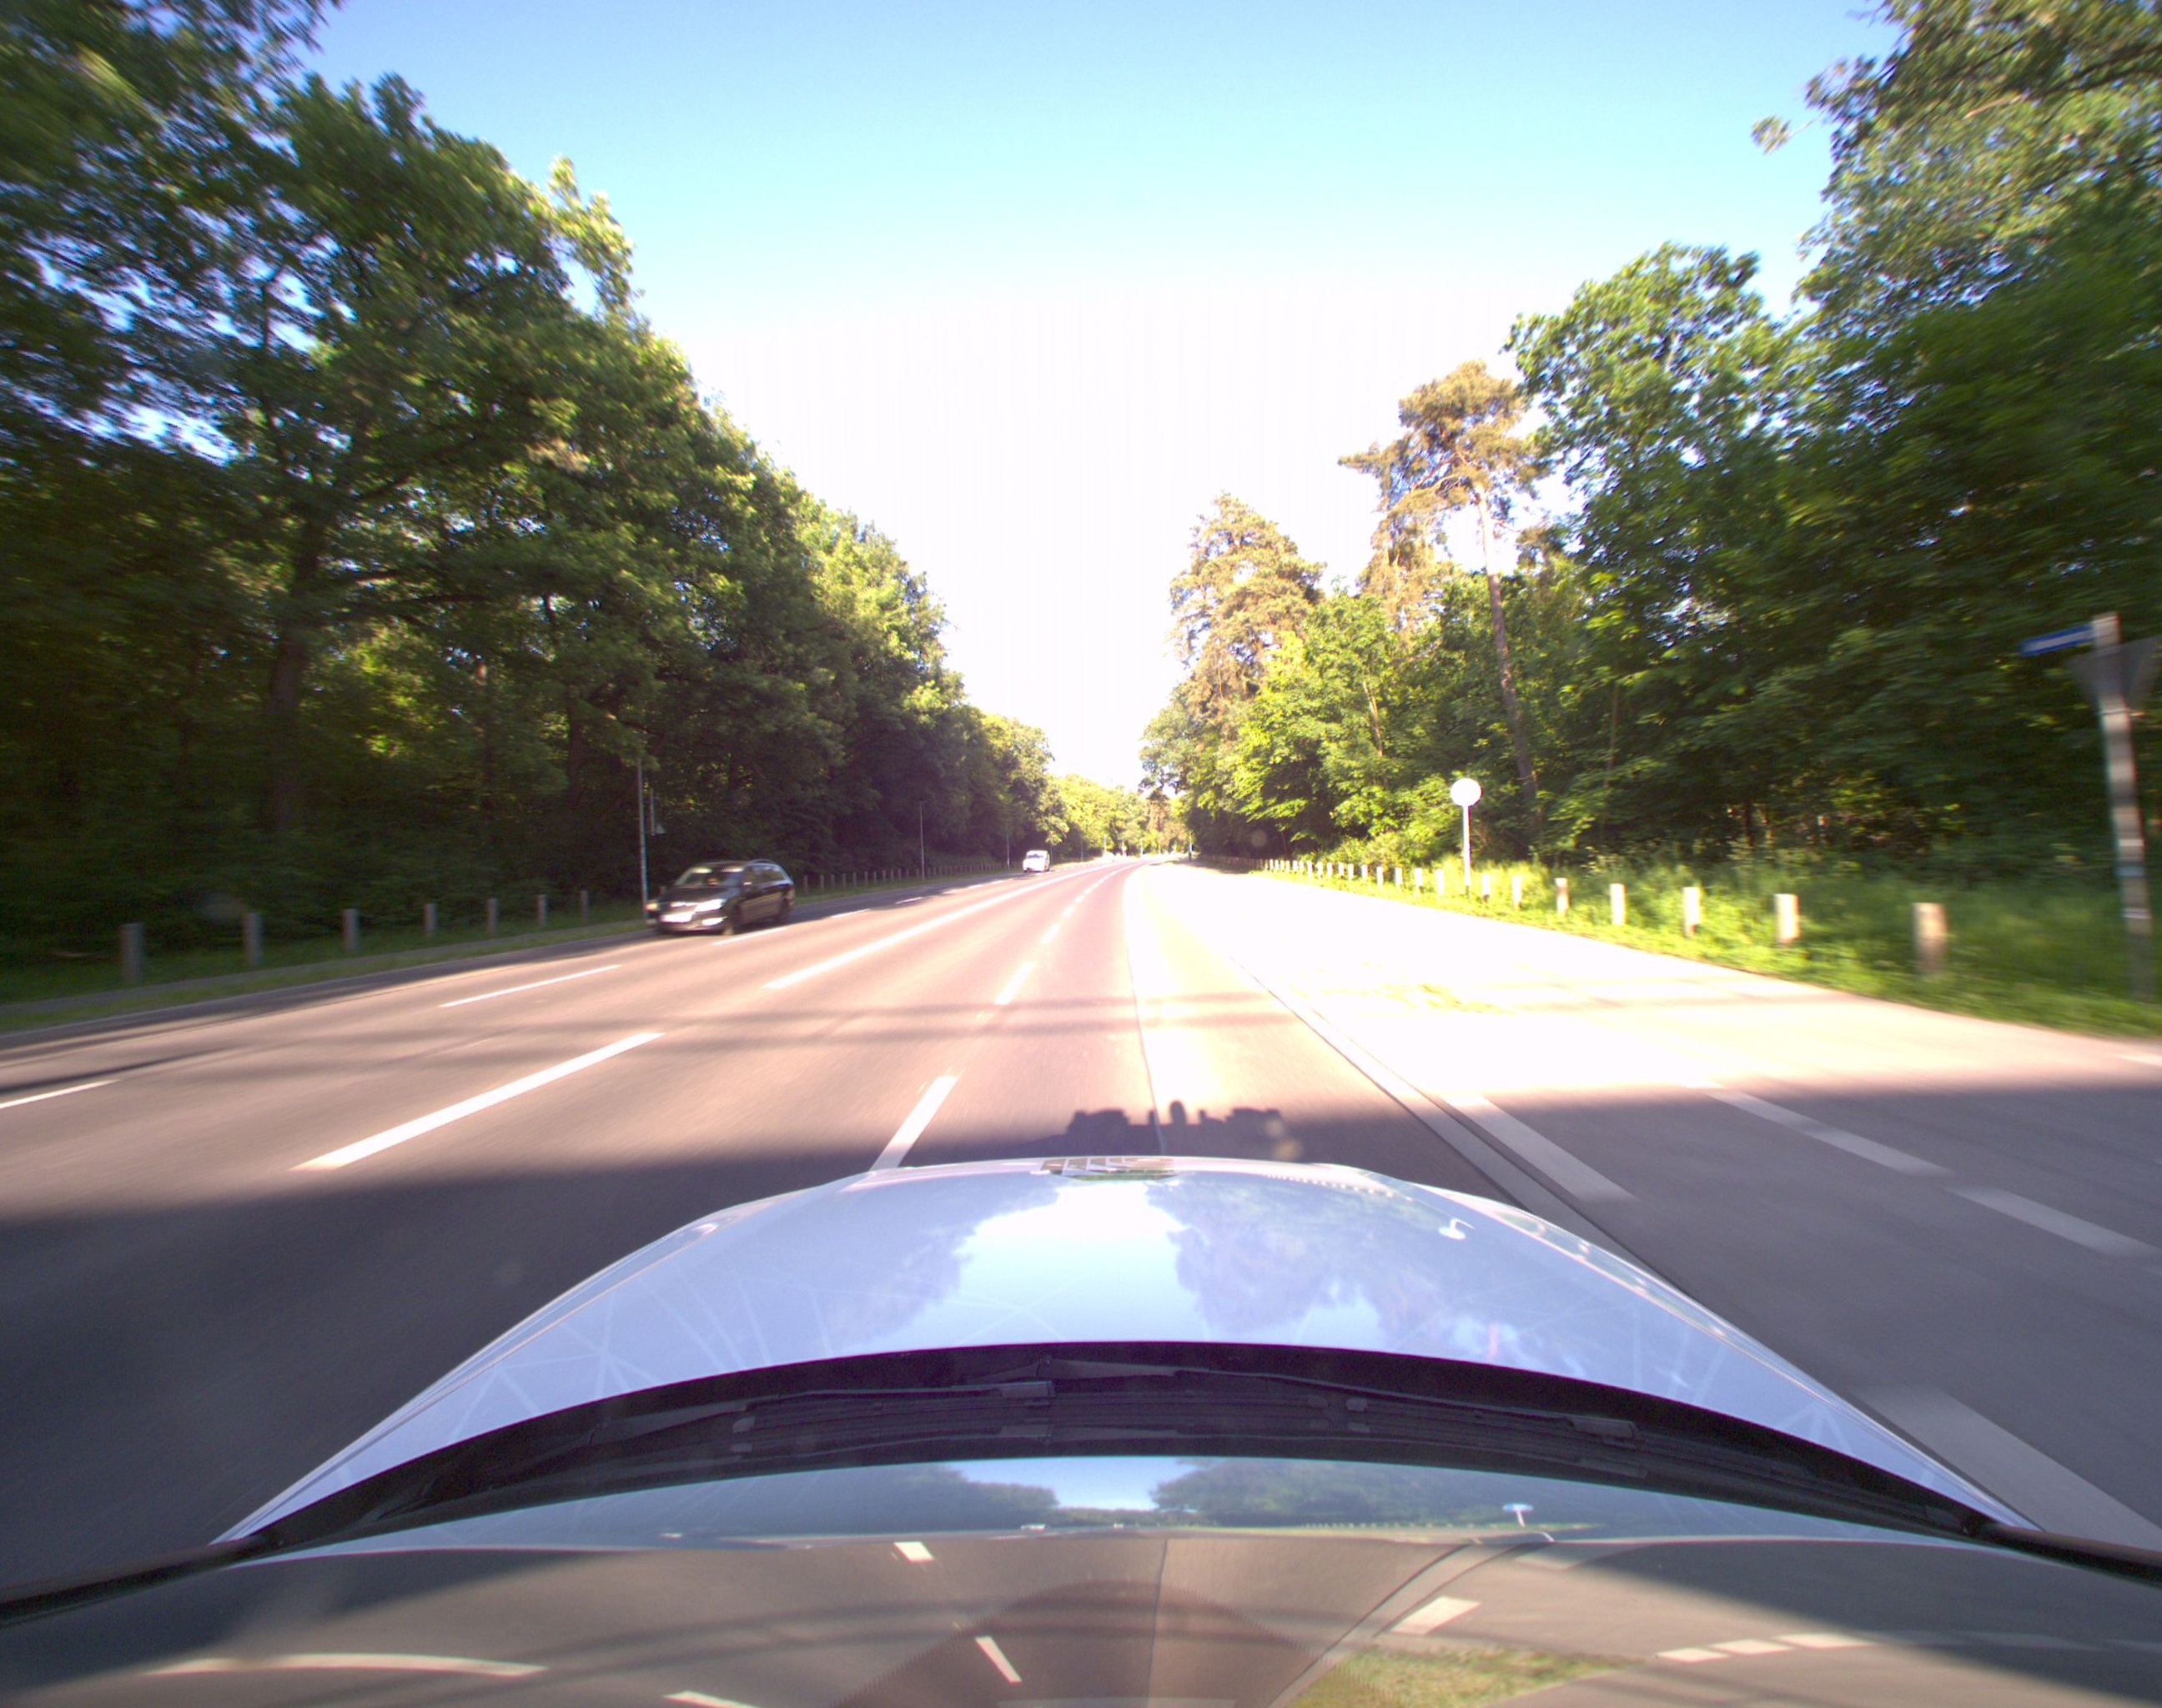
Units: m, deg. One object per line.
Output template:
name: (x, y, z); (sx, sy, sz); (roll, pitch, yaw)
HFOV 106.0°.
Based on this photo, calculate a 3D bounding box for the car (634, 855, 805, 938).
car: (-7.668, 0.815, 17.746); (1.716, 1.574, 4.180); (0, 0, 2)

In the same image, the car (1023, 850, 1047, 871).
car: (-3.890, 0.530, 69.839); (1.699, 1.709, 4.001); (-2, 0, 1)

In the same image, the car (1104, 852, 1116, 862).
car: (5.246, 0.509, 146.860); (1.775, 1.709, 4.007); (-2, 0, 6)
